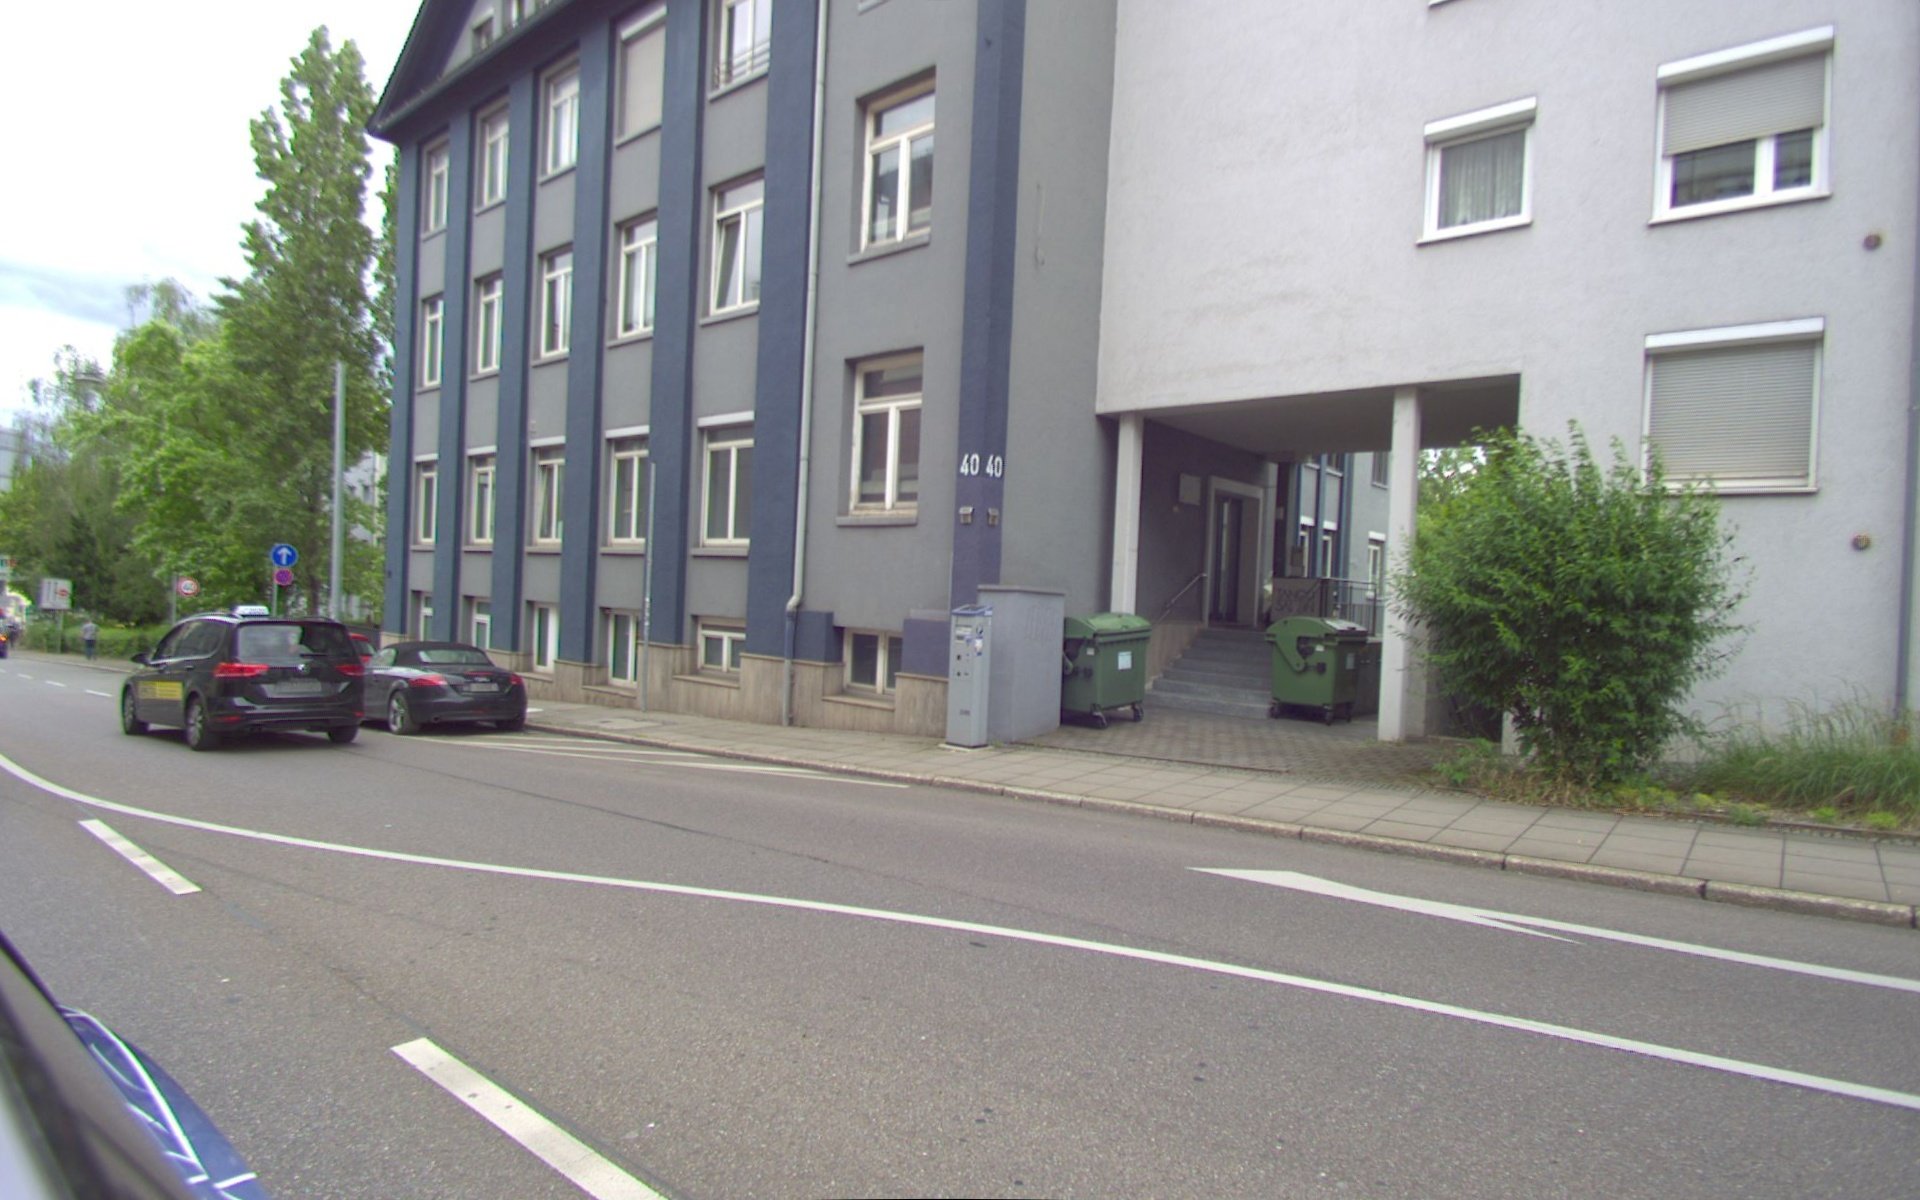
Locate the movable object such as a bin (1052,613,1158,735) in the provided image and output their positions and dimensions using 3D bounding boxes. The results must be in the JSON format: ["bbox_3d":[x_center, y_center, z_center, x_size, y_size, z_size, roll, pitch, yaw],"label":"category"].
[{"bbox_3d":[1.909,0.924,13.263,0.784,1.467,1.251,0,1,44],"label":"movable object such as a bin"}]

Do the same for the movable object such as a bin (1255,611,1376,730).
[{"bbox_3d":[4.992,0.957,14.218,1.190,1.489,1.132,5,1,41],"label":"movable object such as a bin"}]

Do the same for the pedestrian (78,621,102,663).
[{"bbox_3d":[-39.681,1.909,46.150,0.776,1.864,0.736,-2,-2,42],"label":"pedestrian"}]

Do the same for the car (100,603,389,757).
[{"bbox_3d":[-9.485,0.972,13.310,4.299,1.720,1.767,-1,-4,37],"label":"car"}]

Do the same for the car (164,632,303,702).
[{"bbox_3d":[-16.823,1.498,23.373,3.724,1.465,1.702,-1,-4,40],"label":"car"}]

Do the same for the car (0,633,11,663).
[{"bbox_3d":[-49.185,2.386,50.938,3.726,1.495,1.701,-2,-4,42],"label":"car"}]

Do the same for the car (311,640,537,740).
[{"bbox_3d":[-8.408,1.334,15.756,4.038,1.337,1.702,-2,-5,41],"label":"car"}]
